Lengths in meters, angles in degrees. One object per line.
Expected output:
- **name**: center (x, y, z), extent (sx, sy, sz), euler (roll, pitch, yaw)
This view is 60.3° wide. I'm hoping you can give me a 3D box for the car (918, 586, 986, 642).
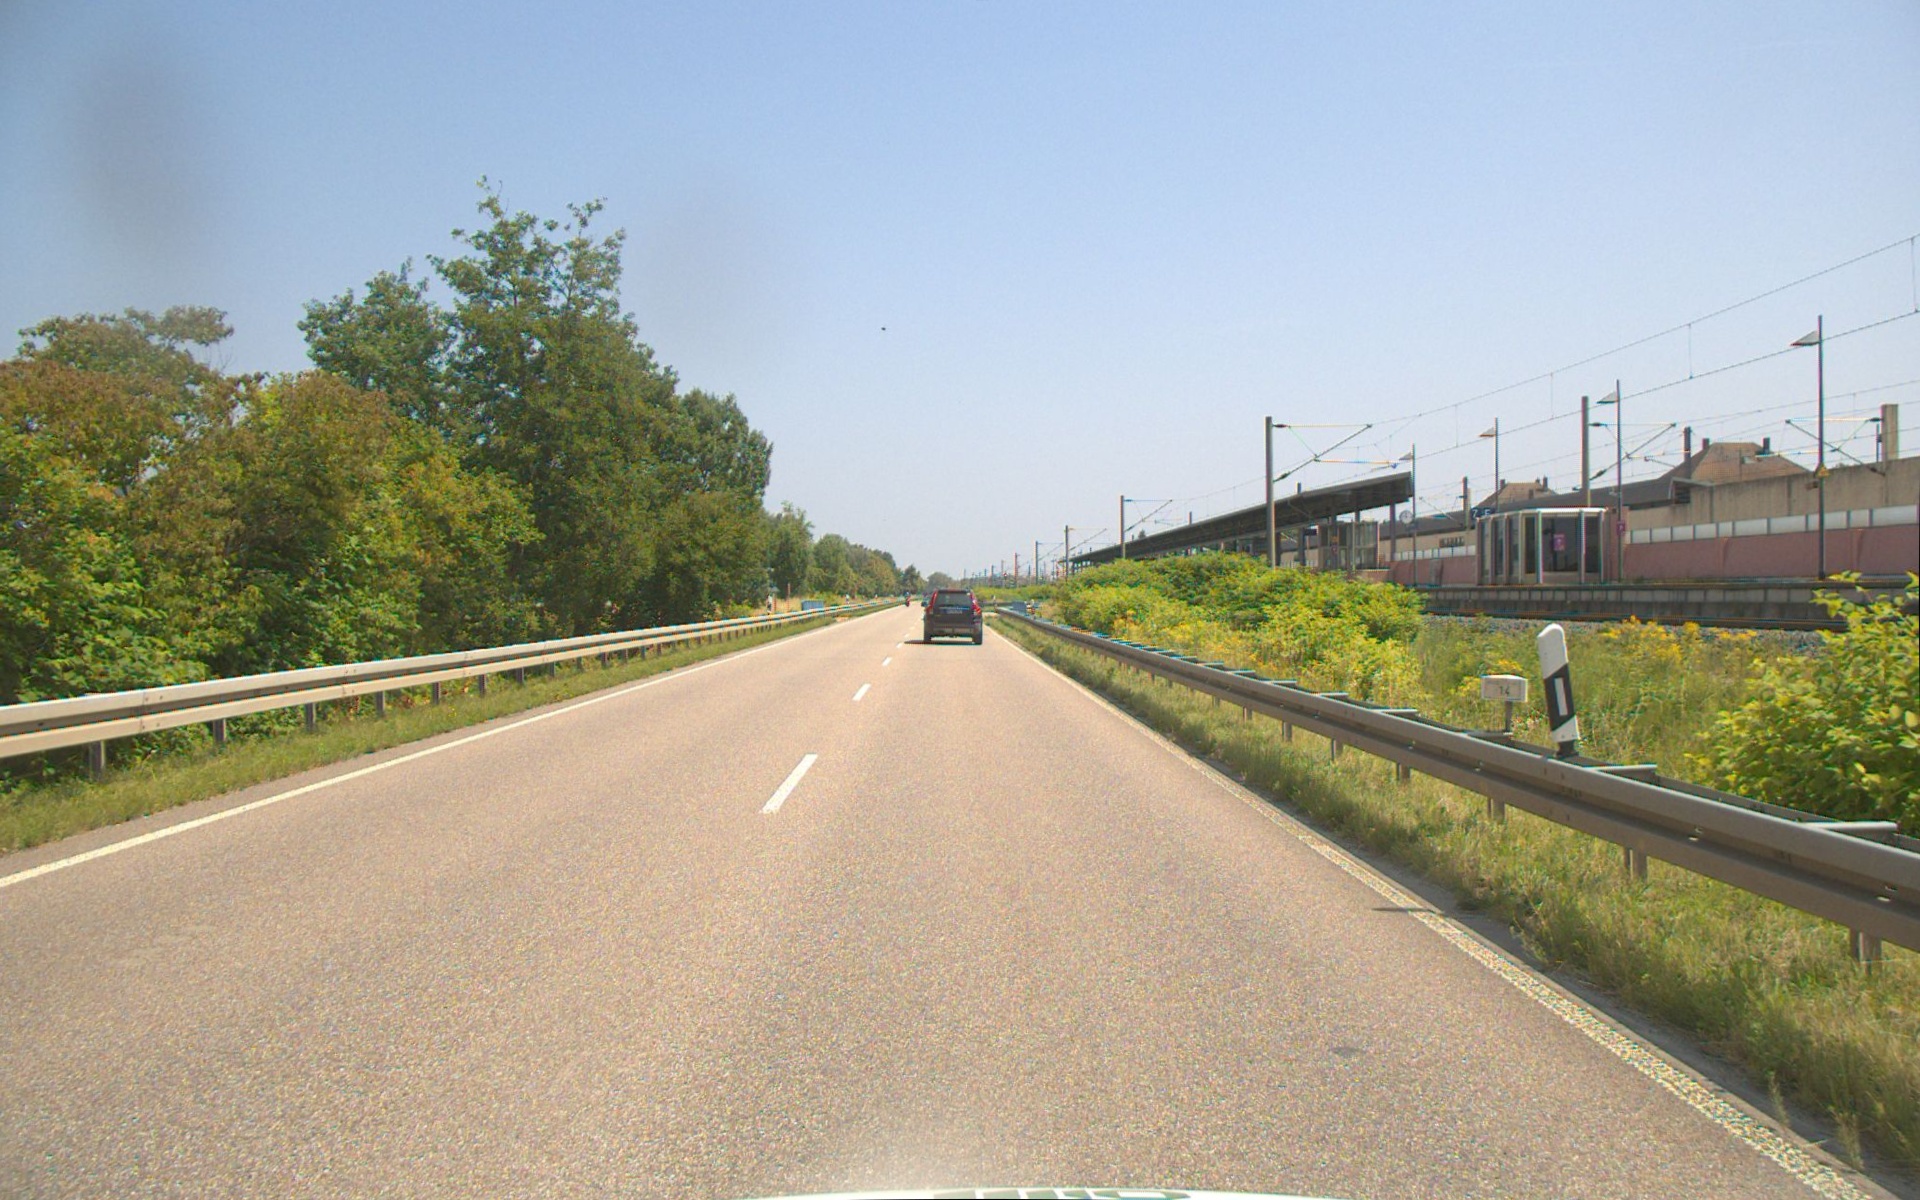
- **car**: center (-0.290, 0.414, 52.563), extent (1.954, 1.730, 3.998), euler (0, 0, -3)
